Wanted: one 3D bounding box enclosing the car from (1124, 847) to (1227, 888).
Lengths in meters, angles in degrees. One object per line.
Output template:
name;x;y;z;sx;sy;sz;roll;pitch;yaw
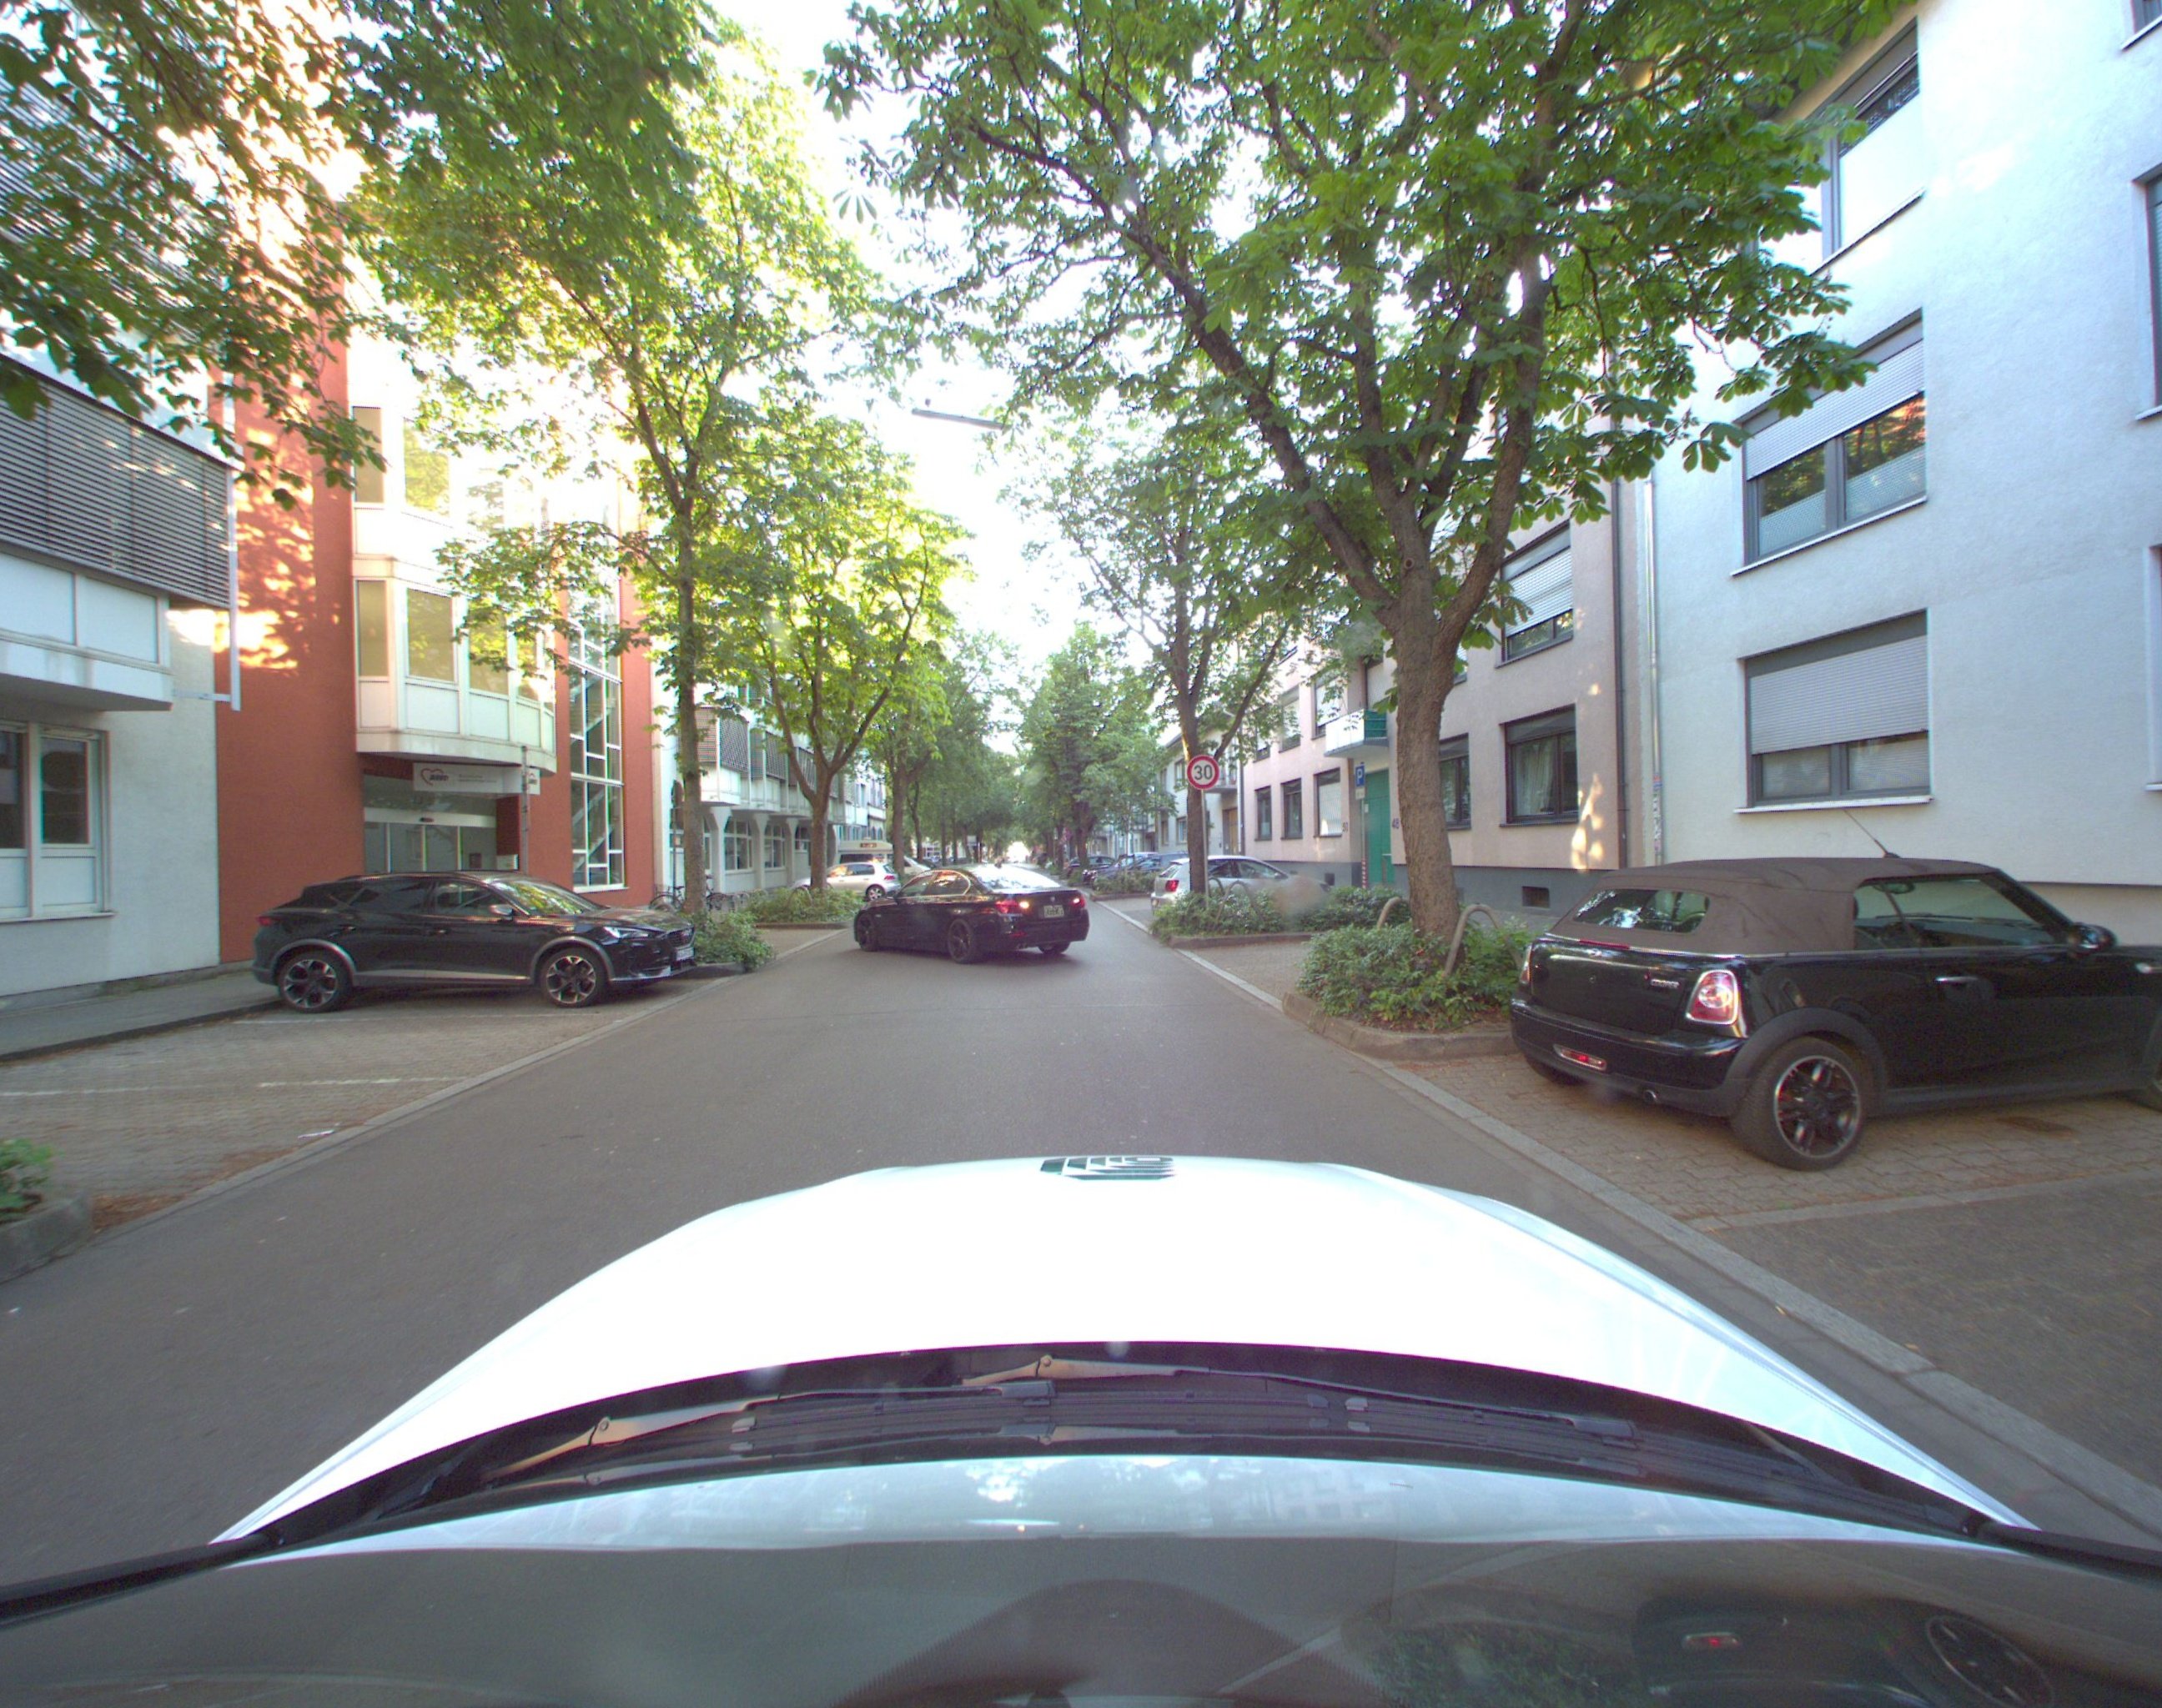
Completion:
car;3.618;0.514;31.444;3.653;1.393;1.562;-2;0;-7

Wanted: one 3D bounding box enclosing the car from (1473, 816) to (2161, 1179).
car;4.511;0.616;4.760;3.703;1.428;1.622;-4;0;-10

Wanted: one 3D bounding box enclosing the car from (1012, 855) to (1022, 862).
car;-13.805;0.949;175.844;1.891;1.475;3.995;-1;0;-4

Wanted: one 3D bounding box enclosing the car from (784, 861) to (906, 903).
car;-8.765;1.014;30.490;4.125;1.471;1.637;0;0;-5

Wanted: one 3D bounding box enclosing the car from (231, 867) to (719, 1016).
car;-6.930;0.944;9.761;4.349;1.509;1.832;0;0;-5

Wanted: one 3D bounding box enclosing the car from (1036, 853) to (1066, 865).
car;-3.842;0.629;102.467;3.653;1.393;1.562;-1;0;-7

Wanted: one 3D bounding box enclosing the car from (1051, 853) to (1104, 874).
car;-0.266;0.661;59.522;3.653;1.393;1.562;-2;0;-7

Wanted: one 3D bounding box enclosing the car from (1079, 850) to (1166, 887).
car;1.887;0.664;37.817;3.788;1.530;1.562;-2;0;-7

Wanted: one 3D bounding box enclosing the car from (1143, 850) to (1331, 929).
car;3.301;0.720;17.579;3.653;1.479;1.562;-2;0;-7

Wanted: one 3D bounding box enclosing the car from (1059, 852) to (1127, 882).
car;0.657;0.723;46.551;3.653;1.536;1.562;-2;0;-7

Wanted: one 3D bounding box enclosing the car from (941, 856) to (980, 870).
car;-12.906;0.955;87.405;4.015;1.471;1.637;0;0;-5

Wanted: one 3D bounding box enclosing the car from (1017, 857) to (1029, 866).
car;-10.306;1.274;144.190;1.990;1.552;3.993;-1;0;-5

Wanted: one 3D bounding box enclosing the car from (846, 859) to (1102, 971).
car;-1.908;0.849;13.171;1.778;1.450;4.612;-1;0;-42

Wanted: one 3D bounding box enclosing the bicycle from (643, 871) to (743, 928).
bicycle;-8.849;1.022;18.620;1.973;1.199;0.499;-1;0;-16

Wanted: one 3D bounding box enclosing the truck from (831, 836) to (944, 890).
truck;-9.171;0.399;38.941;4.989;2.441;1.914;0;1;-4

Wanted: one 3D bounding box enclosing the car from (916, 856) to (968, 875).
car;-11.287;0.933;66.499;4.015;1.471;1.637;0;0;-5
